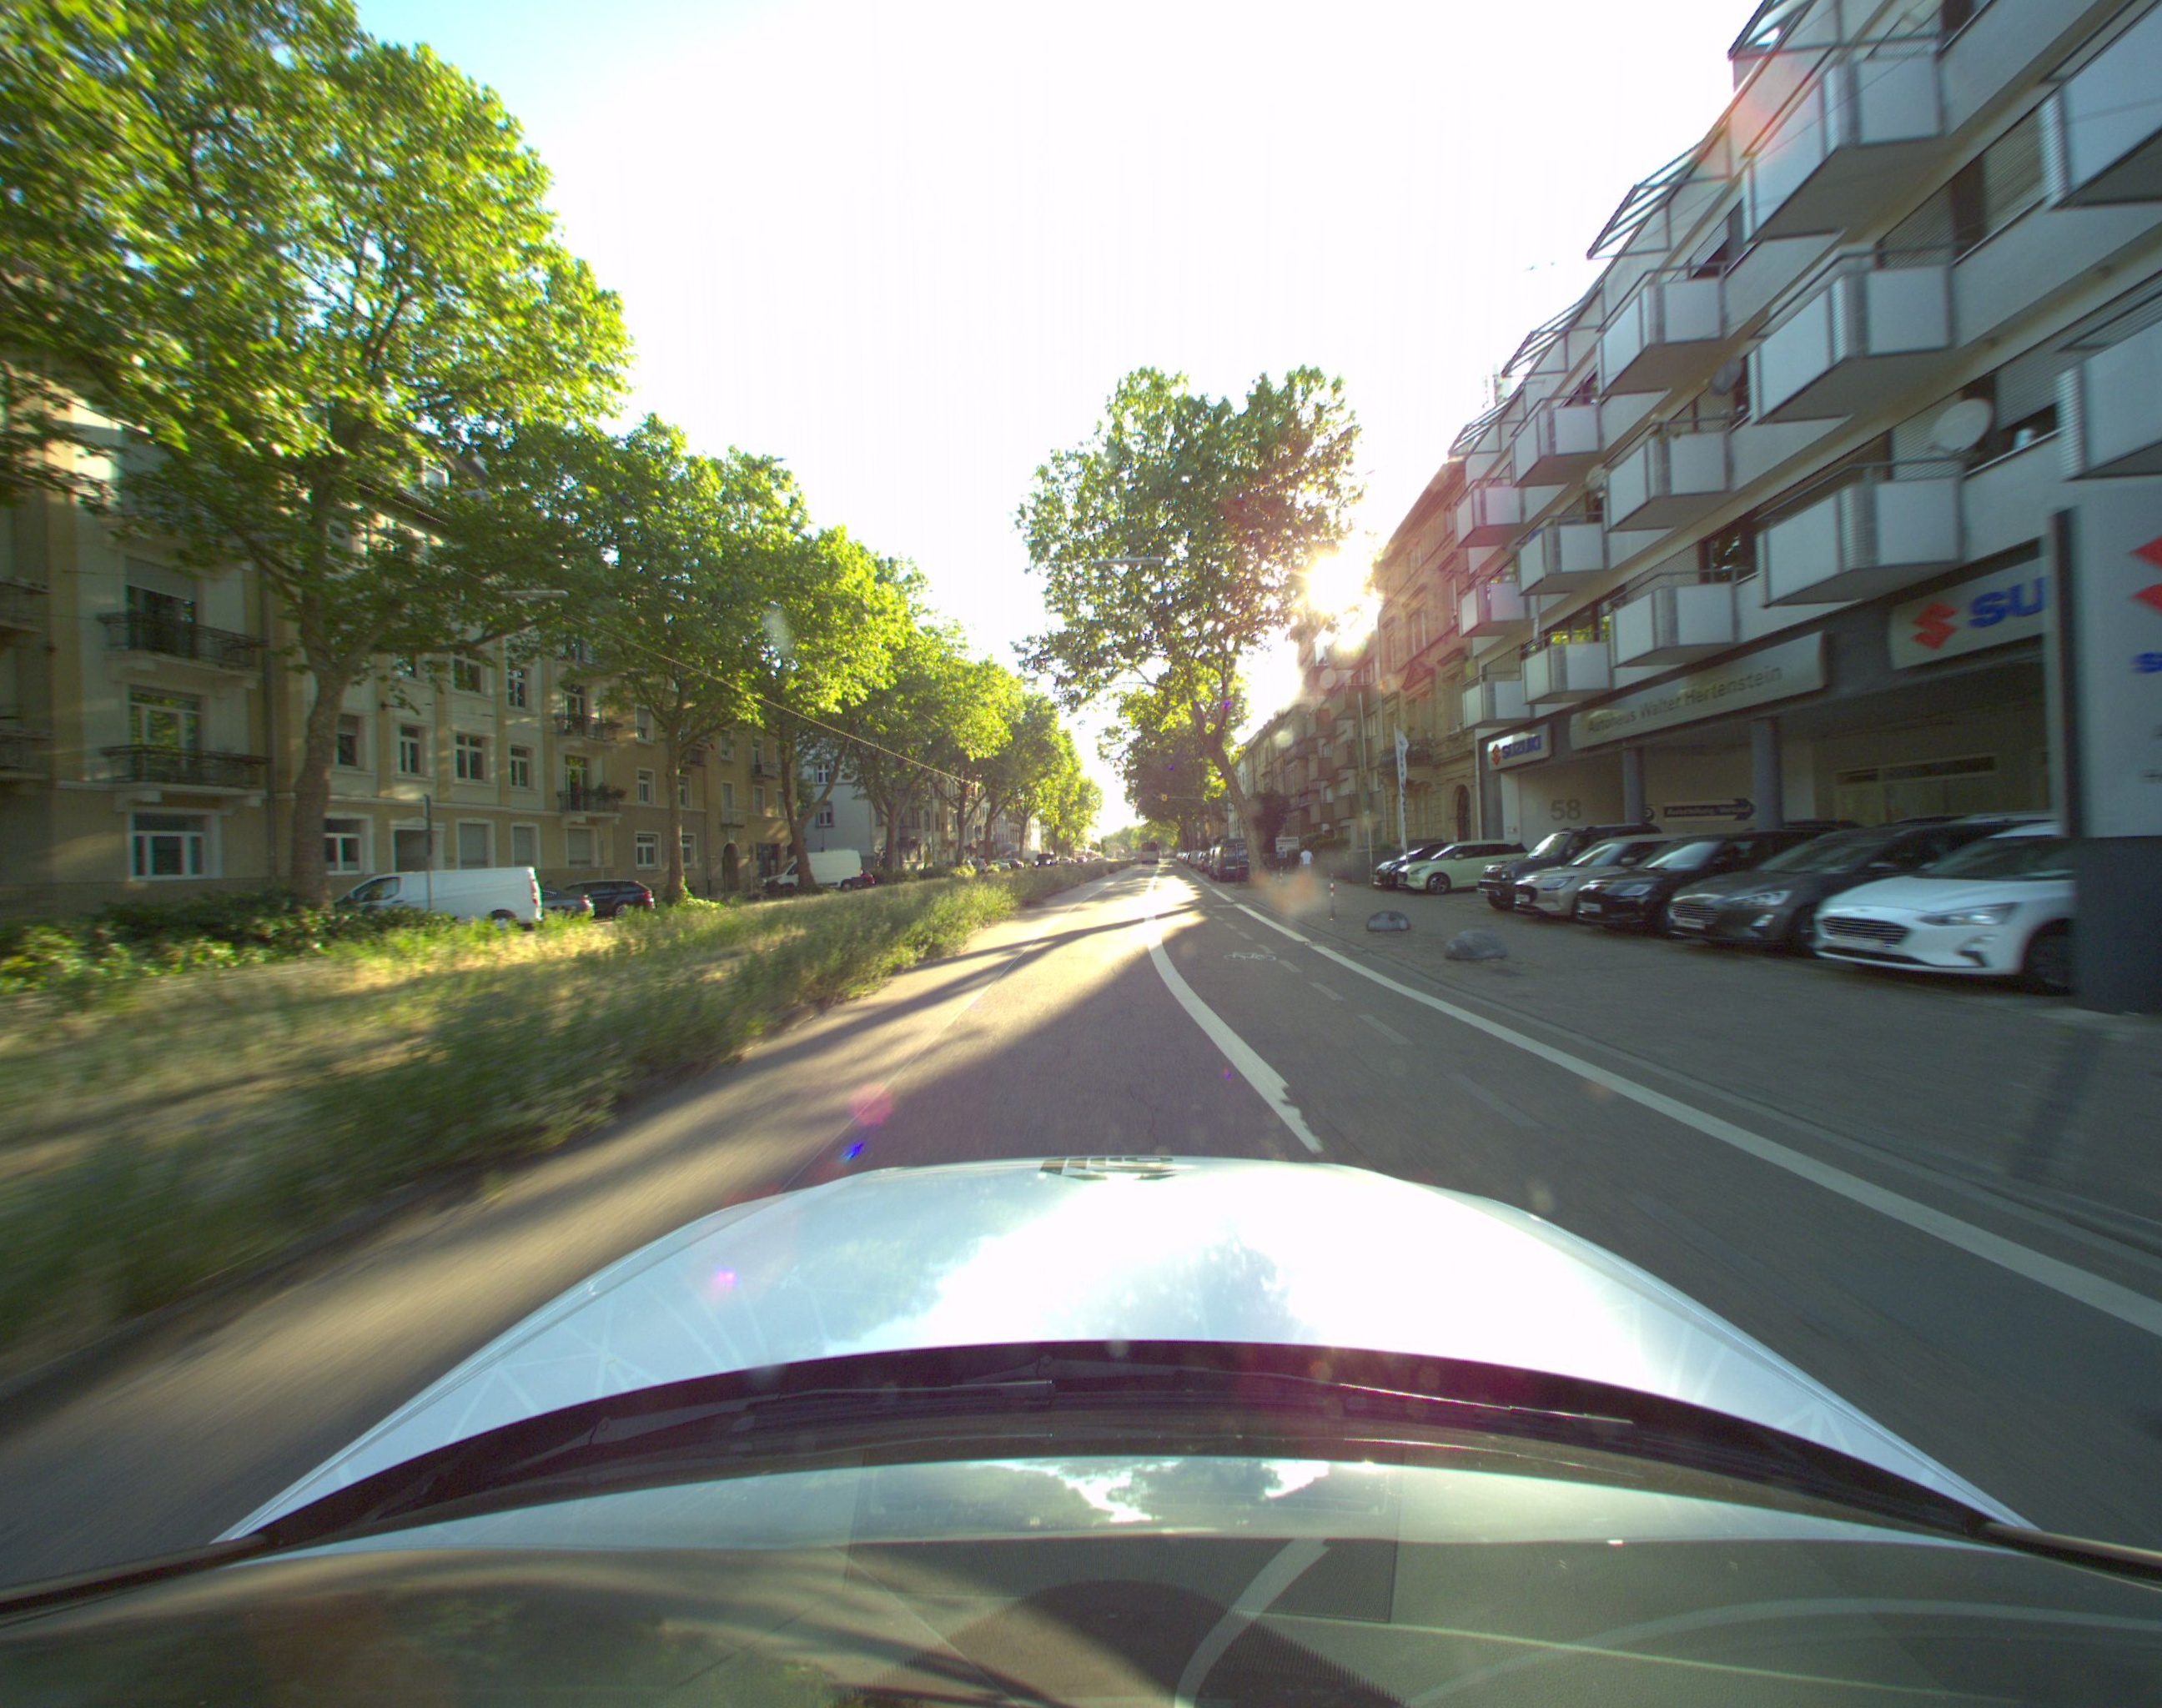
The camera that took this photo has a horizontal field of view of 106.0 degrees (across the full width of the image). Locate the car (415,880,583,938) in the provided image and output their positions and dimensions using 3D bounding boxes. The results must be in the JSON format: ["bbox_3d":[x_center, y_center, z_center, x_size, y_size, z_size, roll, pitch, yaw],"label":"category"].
[{"bbox_3d":[-18.348,1.662,25.842,4.196,1.491,1.702,-2,0,-37],"label":"car"}]

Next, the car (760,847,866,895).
[{"bbox_3d":[-15.774,0.957,48.131,5.534,2.529,2.102,-2,0,-37],"label":"car"}]

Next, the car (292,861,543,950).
[{"bbox_3d":[-18.391,1.340,22.930,5.271,2.066,1.702,-2,0,-37],"label":"car"}]

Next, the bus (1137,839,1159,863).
[{"bbox_3d":[9.810,-0.348,119.610,2.821,3.235,8.188,-2,-1,3],"label":"bus"}]

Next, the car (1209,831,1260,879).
[{"bbox_3d":[7.979,0.077,42.703,1.984,2.257,5.241,-2,-1,4],"label":"car"}]

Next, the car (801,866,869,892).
[{"bbox_3d":[-15.388,1.535,50.988,3.727,1.399,1.717,-2,0,-37],"label":"car"}]

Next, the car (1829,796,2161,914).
[{"bbox_3d":[13.812,0.034,12.464,1.513,1.563,3.308,-2,0,-42],"label":"car"}]

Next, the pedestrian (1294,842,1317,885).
[{"bbox_3d":[8.625,0.368,31.290,0.660,1.629,0.924,-2,-1,5],"label":"pedestrian"}]

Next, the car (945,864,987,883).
[{"bbox_3d":[-12.288,2.093,86.992,4.017,1.882,1.978,-2,-1,-35],"label":"car"}]

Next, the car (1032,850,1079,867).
[{"bbox_3d":[-2.818,0.475,90.230,4.788,1.693,1.858,-2,-1,-28],"label":"car"}]

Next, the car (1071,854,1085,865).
[{"bbox_3d":[-0.438,0.879,131.702,1.781,1.574,4.007,-2,0,6],"label":"car"}]

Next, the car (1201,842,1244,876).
[{"bbox_3d":[8.321,0.289,48.144,1.984,1.830,4.763,-2,-1,4],"label":"car"}]

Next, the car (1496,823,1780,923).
[{"bbox_3d":[9.874,0.328,14.695,3.802,1.540,1.861,-2,0,3],"label":"car"}]

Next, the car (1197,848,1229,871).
[{"bbox_3d":[9.806,0.427,60.789,1.984,1.560,3.985,-2,-1,4],"label":"car"}]

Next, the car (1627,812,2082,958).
[{"bbox_3d":[9.375,0.353,10.163,3.852,1.514,1.811,-2,0,3],"label":"car"}]

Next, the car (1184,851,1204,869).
[{"bbox_3d":[11.568,0.629,83.012,1.733,1.770,4.408,-2,-1,11],"label":"car"}]

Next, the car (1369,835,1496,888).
[{"bbox_3d":[11.250,0.247,26.201,3.404,1.546,1.443,-2,-1,2],"label":"car"}]

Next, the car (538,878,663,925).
[{"bbox_3d":[-17.433,1.680,29.597,3.746,1.422,1.702,-2,0,-37],"label":"car"}]

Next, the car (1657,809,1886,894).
[{"bbox_3d":[14.855,-0.027,17.648,1.627,1.656,3.557,-2,0,-42],"label":"car"}]

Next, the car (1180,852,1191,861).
[{"bbox_3d":[18.347,0.387,142.823,1.772,1.516,4.006,-3,0,6],"label":"car"}]

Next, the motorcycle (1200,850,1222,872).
[{"bbox_3d":[9.021,0.472,56.562,0.823,1.398,2.374,-4,0,-7],"label":"motorcycle"}]

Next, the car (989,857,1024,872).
[{"bbox_3d":[-9.575,1.341,104.616,4.009,1.699,1.840,-4,0,-26],"label":"car"}]

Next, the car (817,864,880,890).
[{"bbox_3d":[-15.379,1.518,53.829,3.718,1.466,1.721,-4,0,-27],"label":"car"}]

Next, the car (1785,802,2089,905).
[{"bbox_3d":[14.783,0.017,14.264,1.619,1.563,3.484,-2,0,-42],"label":"car"}]

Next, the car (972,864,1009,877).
[{"bbox_3d":[-10.643,1.883,95.720,4.008,1.356,1.572,-2,-1,-26],"label":"car"}]

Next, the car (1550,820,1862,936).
[{"bbox_3d":[9.401,0.343,12.470,3.405,1.525,1.741,-2,0,1],"label":"car"}]

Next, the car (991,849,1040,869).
[{"bbox_3d":[-9.682,0.673,120.258,6.951,2.678,2.174,-2,-1,-16],"label":"car"}]

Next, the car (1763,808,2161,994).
[{"bbox_3d":[9.351,0.360,7.941,3.799,1.501,1.913,-2,1,0],"label":"car"}]

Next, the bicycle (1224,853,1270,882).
[{"bbox_3d":[6.931,0.559,34.039,1.836,1.143,0.349,-2,-1,4],"label":"bicycle"}]

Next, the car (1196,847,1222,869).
[{"bbox_3d":[10.284,0.316,65.842,1.736,1.690,3.856,-2,-1,4],"label":"car"}]

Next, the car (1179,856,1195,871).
[{"bbox_3d":[13.307,1.185,102.233,1.736,1.770,4.994,-2,-1,4],"label":"car"}]

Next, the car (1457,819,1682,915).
[{"bbox_3d":[9.875,0.243,16.709,3.561,1.720,1.685,-2,1,7],"label":"car"}]

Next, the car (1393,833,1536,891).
[{"bbox_3d":[11.237,0.253,24.065,3.399,1.519,1.761,-2,-1,7],"label":"car"}]
